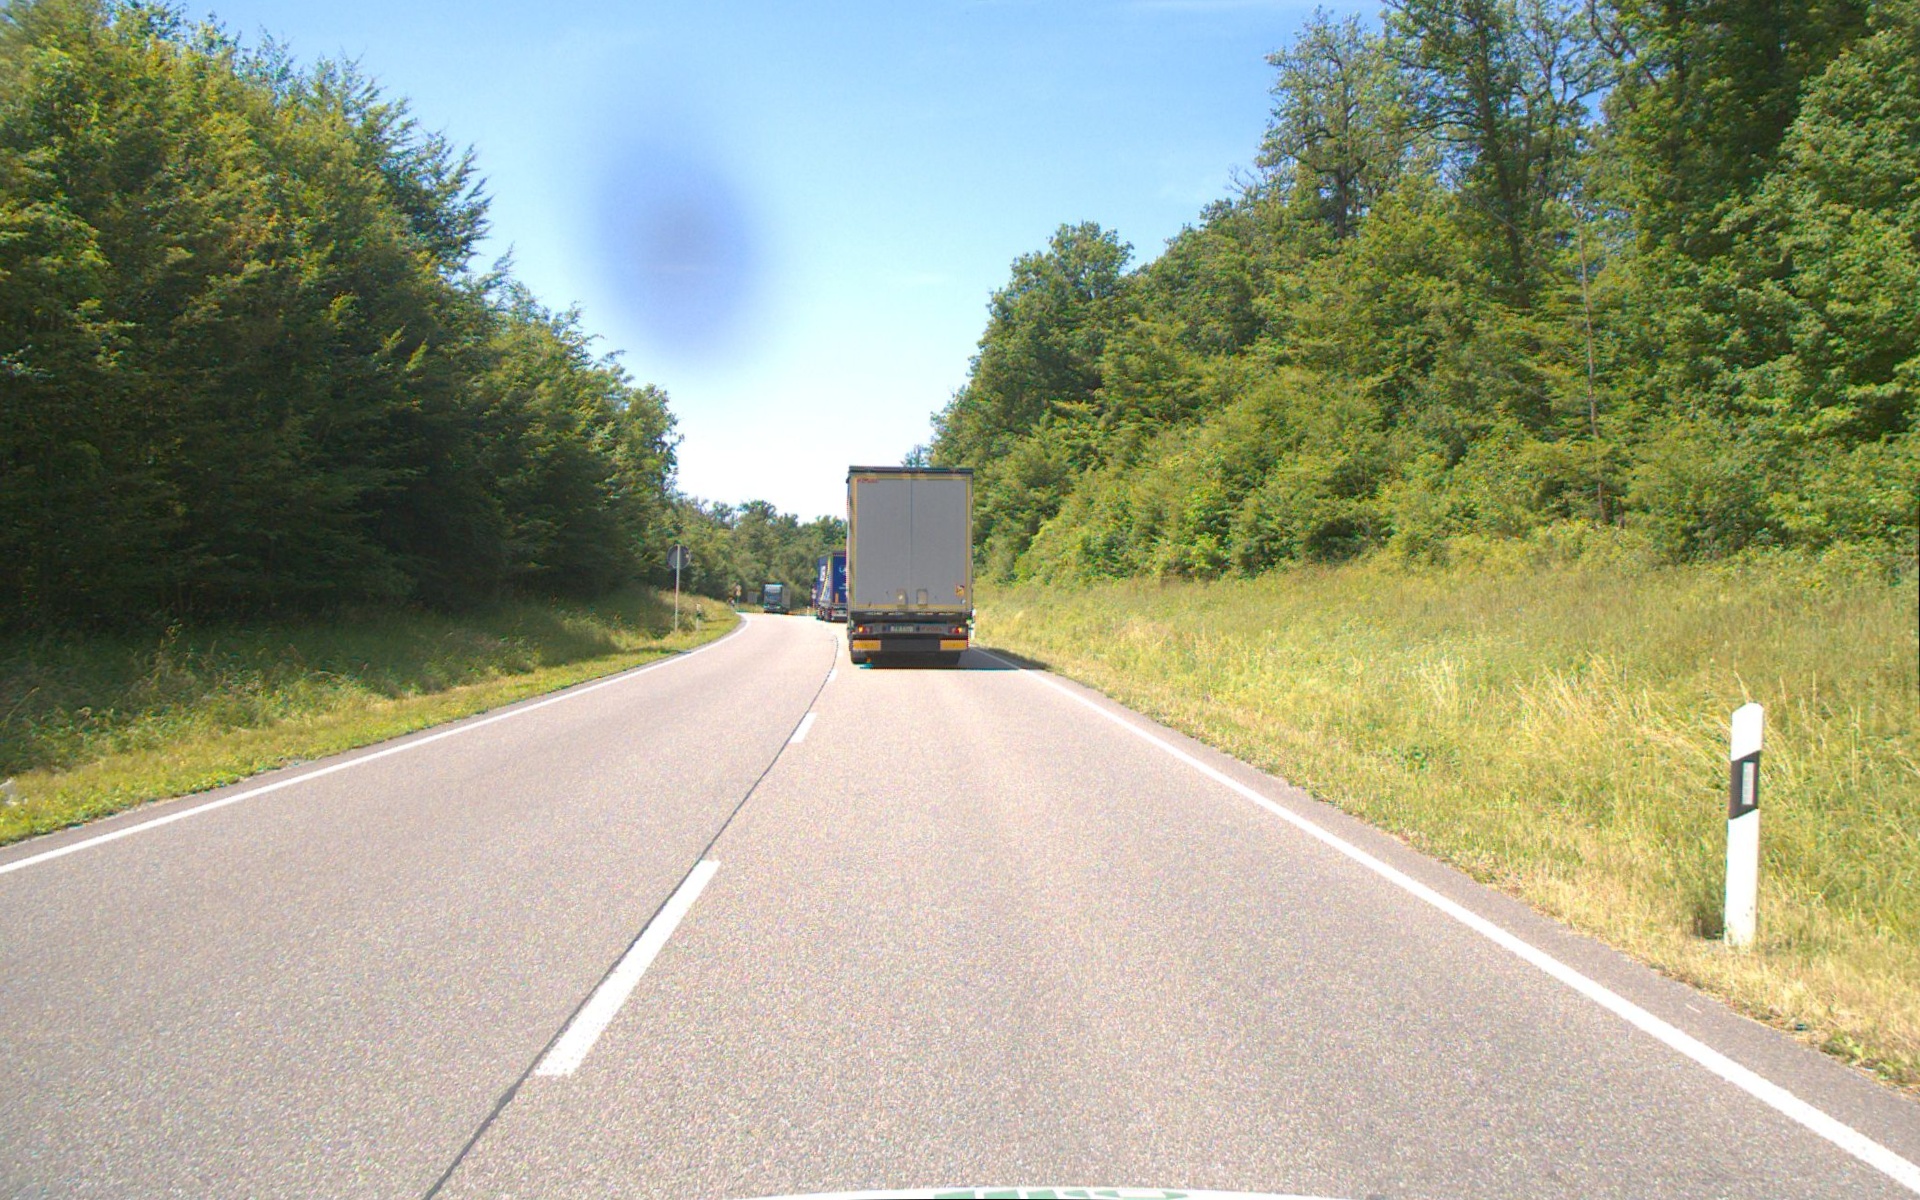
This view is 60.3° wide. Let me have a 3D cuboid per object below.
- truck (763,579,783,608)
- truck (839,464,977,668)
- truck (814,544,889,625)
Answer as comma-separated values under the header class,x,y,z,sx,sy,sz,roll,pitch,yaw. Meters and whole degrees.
class,x,y,z,sx,sy,sz,roll,pitch,yaw
truck,-28.230,-1.047,249.269,2.868,4.289,5.333,-1,0,-8
truck,-1.328,-0.694,39.160,2.706,4.016,12.190,1,0,-3
truck,-6.784,-0.904,100.651,3.721,4.449,14.899,2,0,-6
